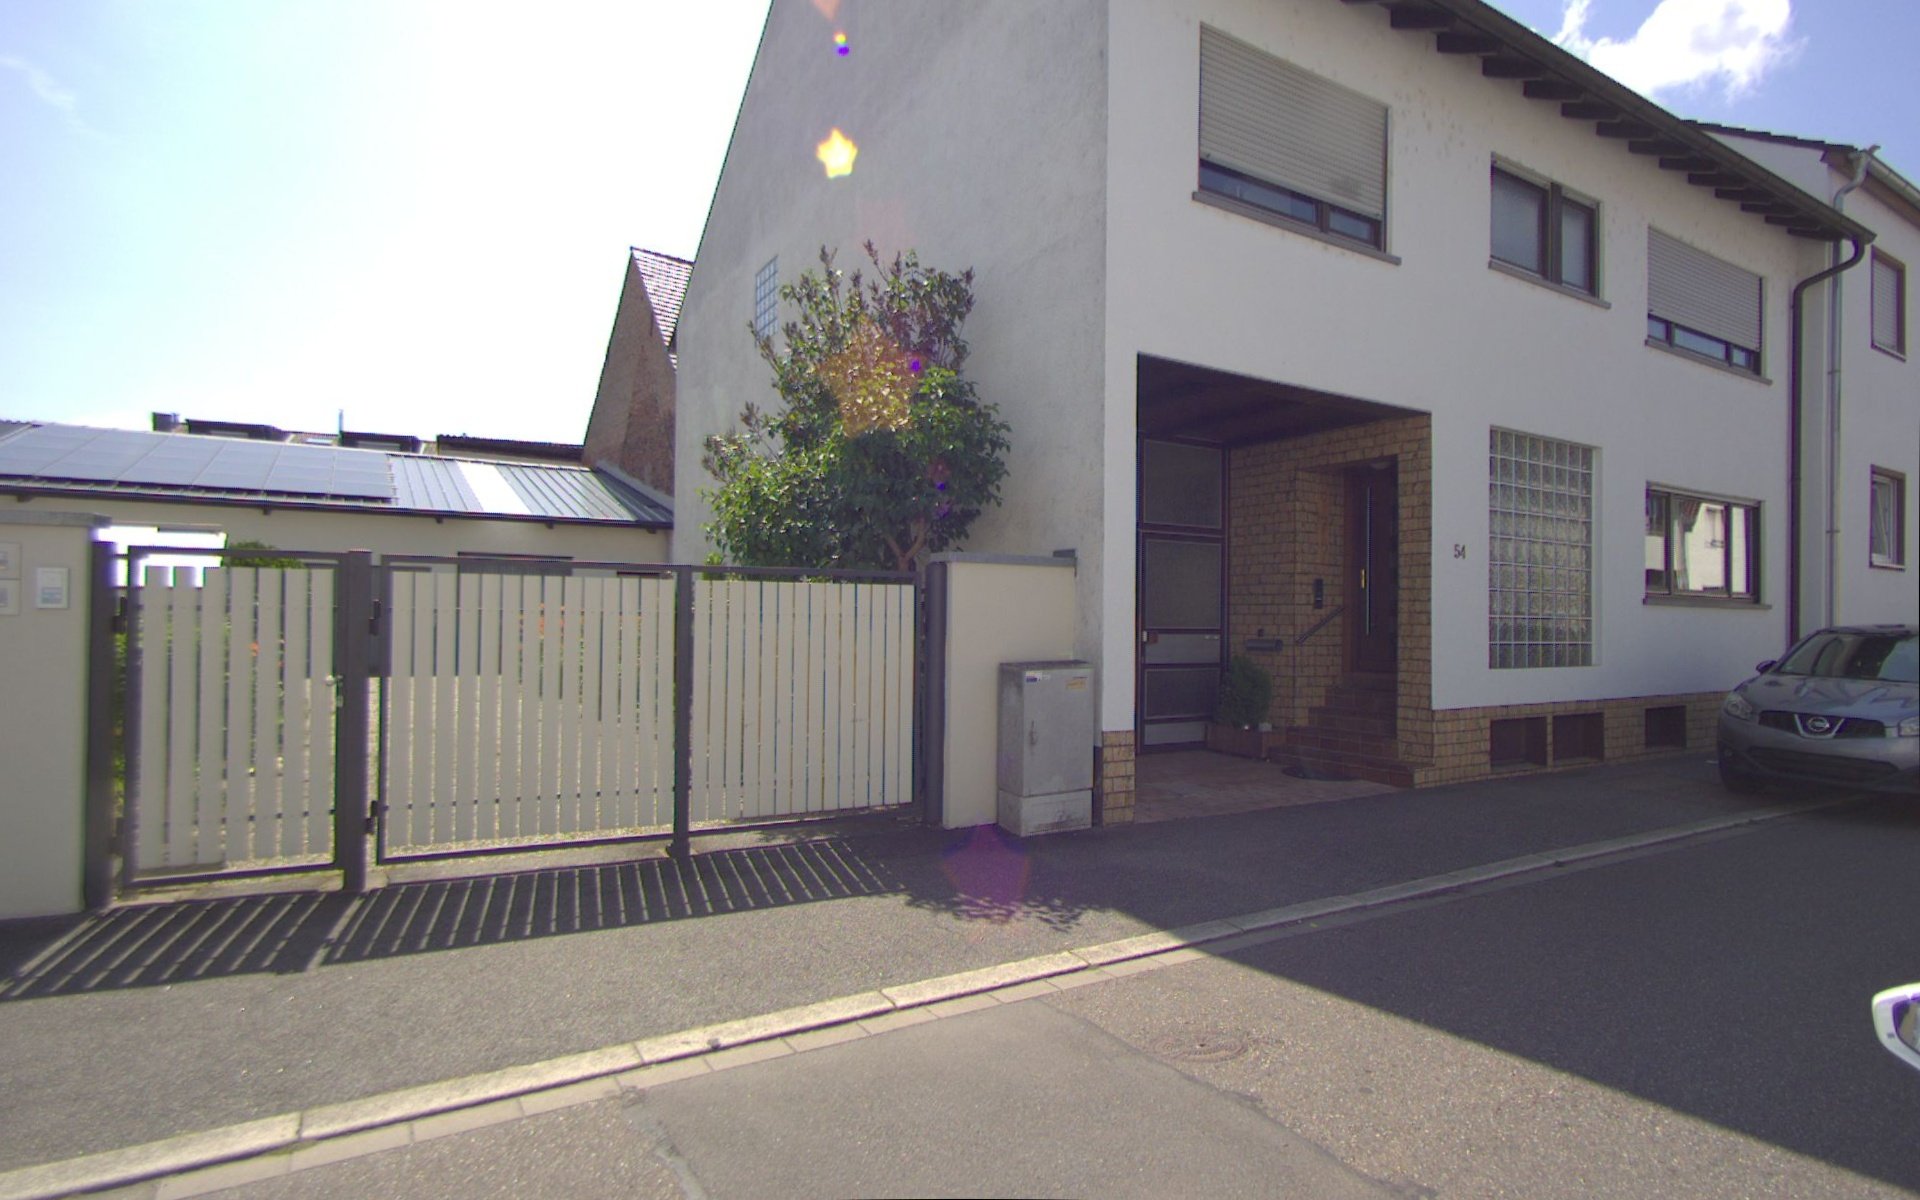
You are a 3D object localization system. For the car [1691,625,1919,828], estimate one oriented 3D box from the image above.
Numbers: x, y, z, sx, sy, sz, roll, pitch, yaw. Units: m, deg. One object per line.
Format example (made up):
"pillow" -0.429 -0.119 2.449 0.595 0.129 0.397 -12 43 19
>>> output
"car" 8.785 1.024 9.401 4.242 1.545 1.749 1 -1 -33
